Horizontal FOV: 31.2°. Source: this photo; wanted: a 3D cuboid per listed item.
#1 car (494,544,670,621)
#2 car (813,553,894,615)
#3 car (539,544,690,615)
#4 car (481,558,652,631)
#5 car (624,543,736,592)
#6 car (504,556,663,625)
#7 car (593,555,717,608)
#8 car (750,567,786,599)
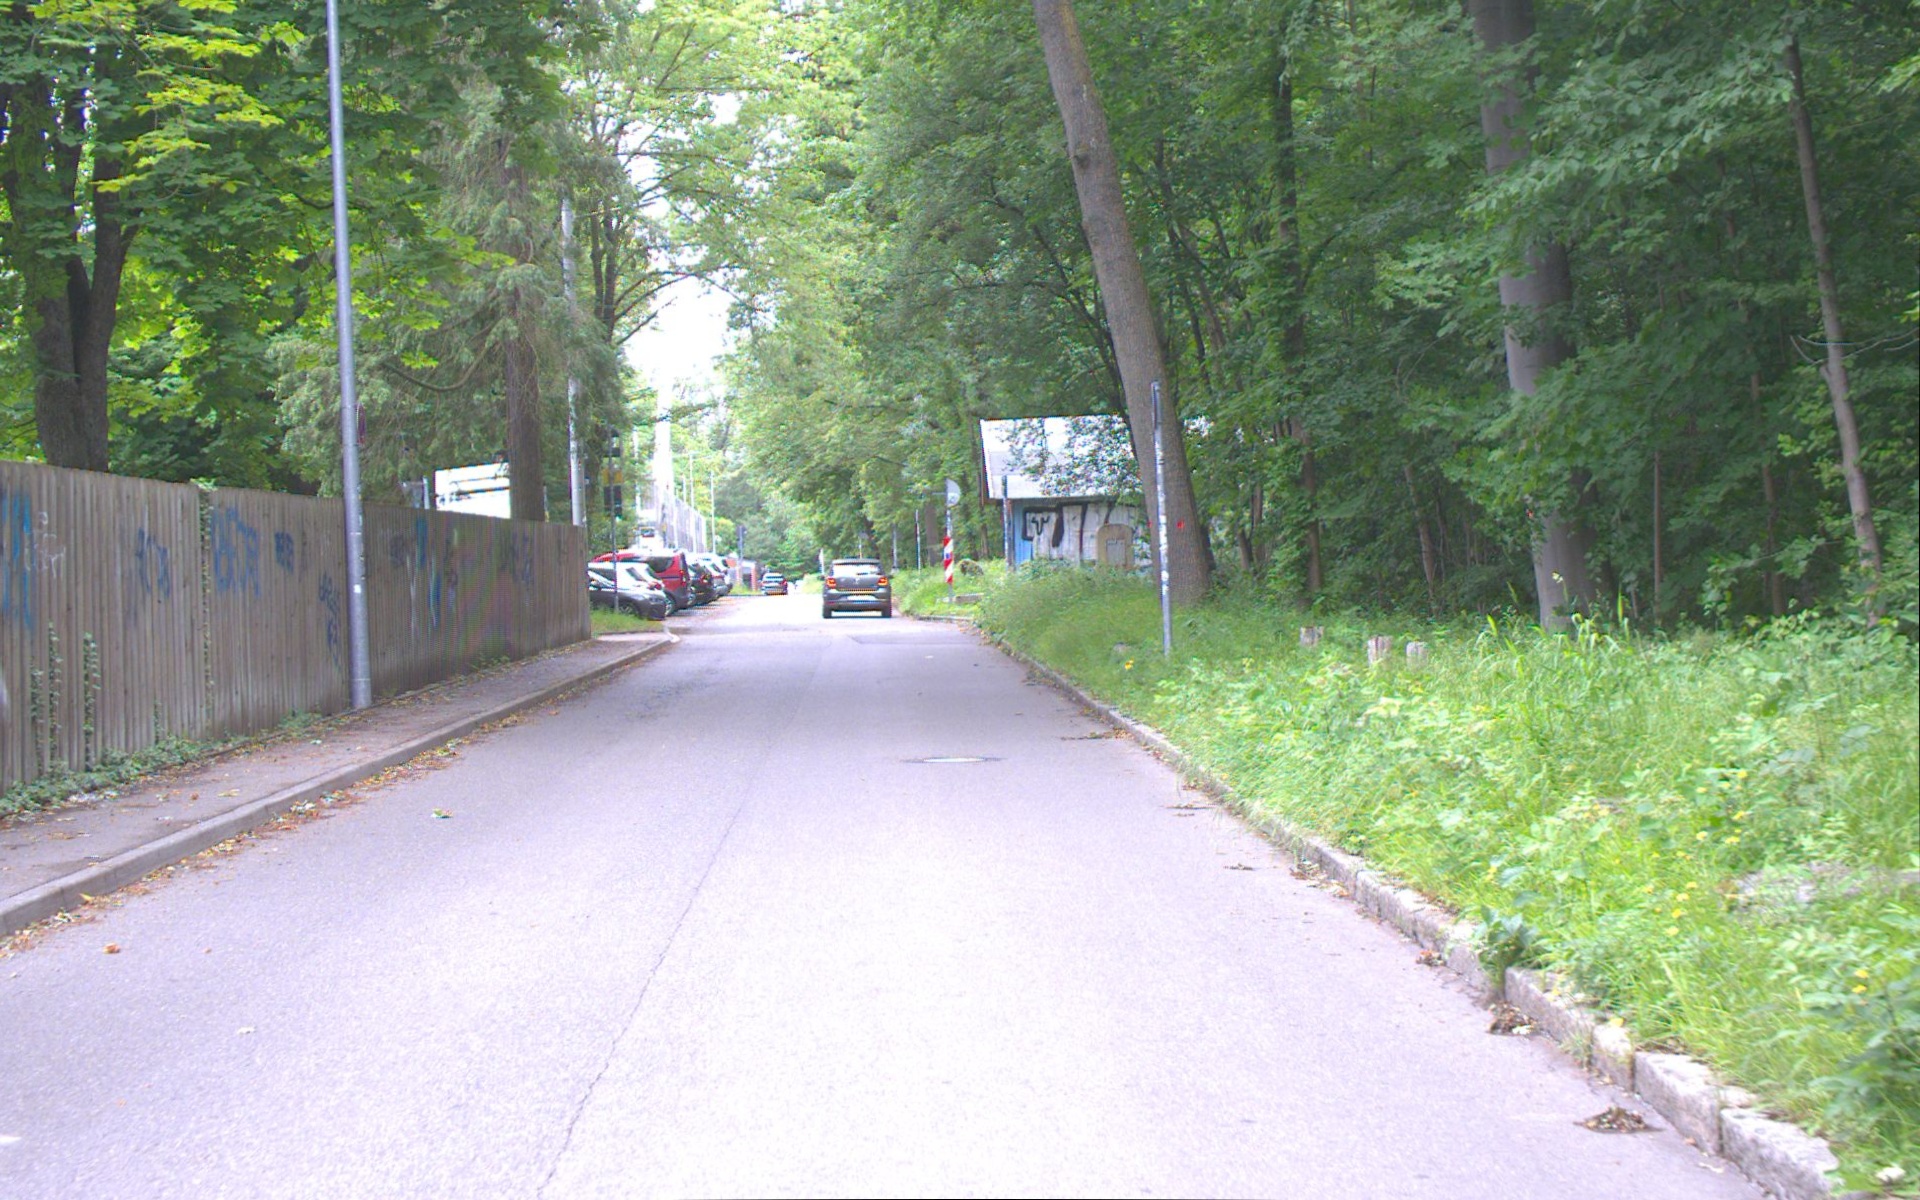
[{"bbox_3d":[-8.870,-0.429,80.889,3.986,1.568,2.000,-3,1,-5],"label":"car"},{"bbox_3d":[-2.592,-0.390,84.385,1.908,1.503,4.000,0,0,-1],"label":"car"},{"bbox_3d":[-9.419,-0.576,93.943,3.986,1.744,2.000,-3,1,-5],"label":"car"},{"bbox_3d":[-9.498,-0.146,83.207,3.986,1.568,2.000,-3,1,-5],"label":"car"},{"bbox_3d":[-10.481,-1.212,128.837,3.987,1.590,1.765,-4,0,-2],"label":"car"},{"bbox_3d":[-9.707,-0.250,88.831,3.986,1.568,2.000,-3,1,-5],"label":"car"},{"bbox_3d":[-9.132,-0.546,103.143,3.572,1.402,1.650,-3,0,-1],"label":"car"},{"bbox_3d":[-12.593,-1.117,225.553,1.993,2.007,4.001,-3,1,-7],"label":"car"}]
